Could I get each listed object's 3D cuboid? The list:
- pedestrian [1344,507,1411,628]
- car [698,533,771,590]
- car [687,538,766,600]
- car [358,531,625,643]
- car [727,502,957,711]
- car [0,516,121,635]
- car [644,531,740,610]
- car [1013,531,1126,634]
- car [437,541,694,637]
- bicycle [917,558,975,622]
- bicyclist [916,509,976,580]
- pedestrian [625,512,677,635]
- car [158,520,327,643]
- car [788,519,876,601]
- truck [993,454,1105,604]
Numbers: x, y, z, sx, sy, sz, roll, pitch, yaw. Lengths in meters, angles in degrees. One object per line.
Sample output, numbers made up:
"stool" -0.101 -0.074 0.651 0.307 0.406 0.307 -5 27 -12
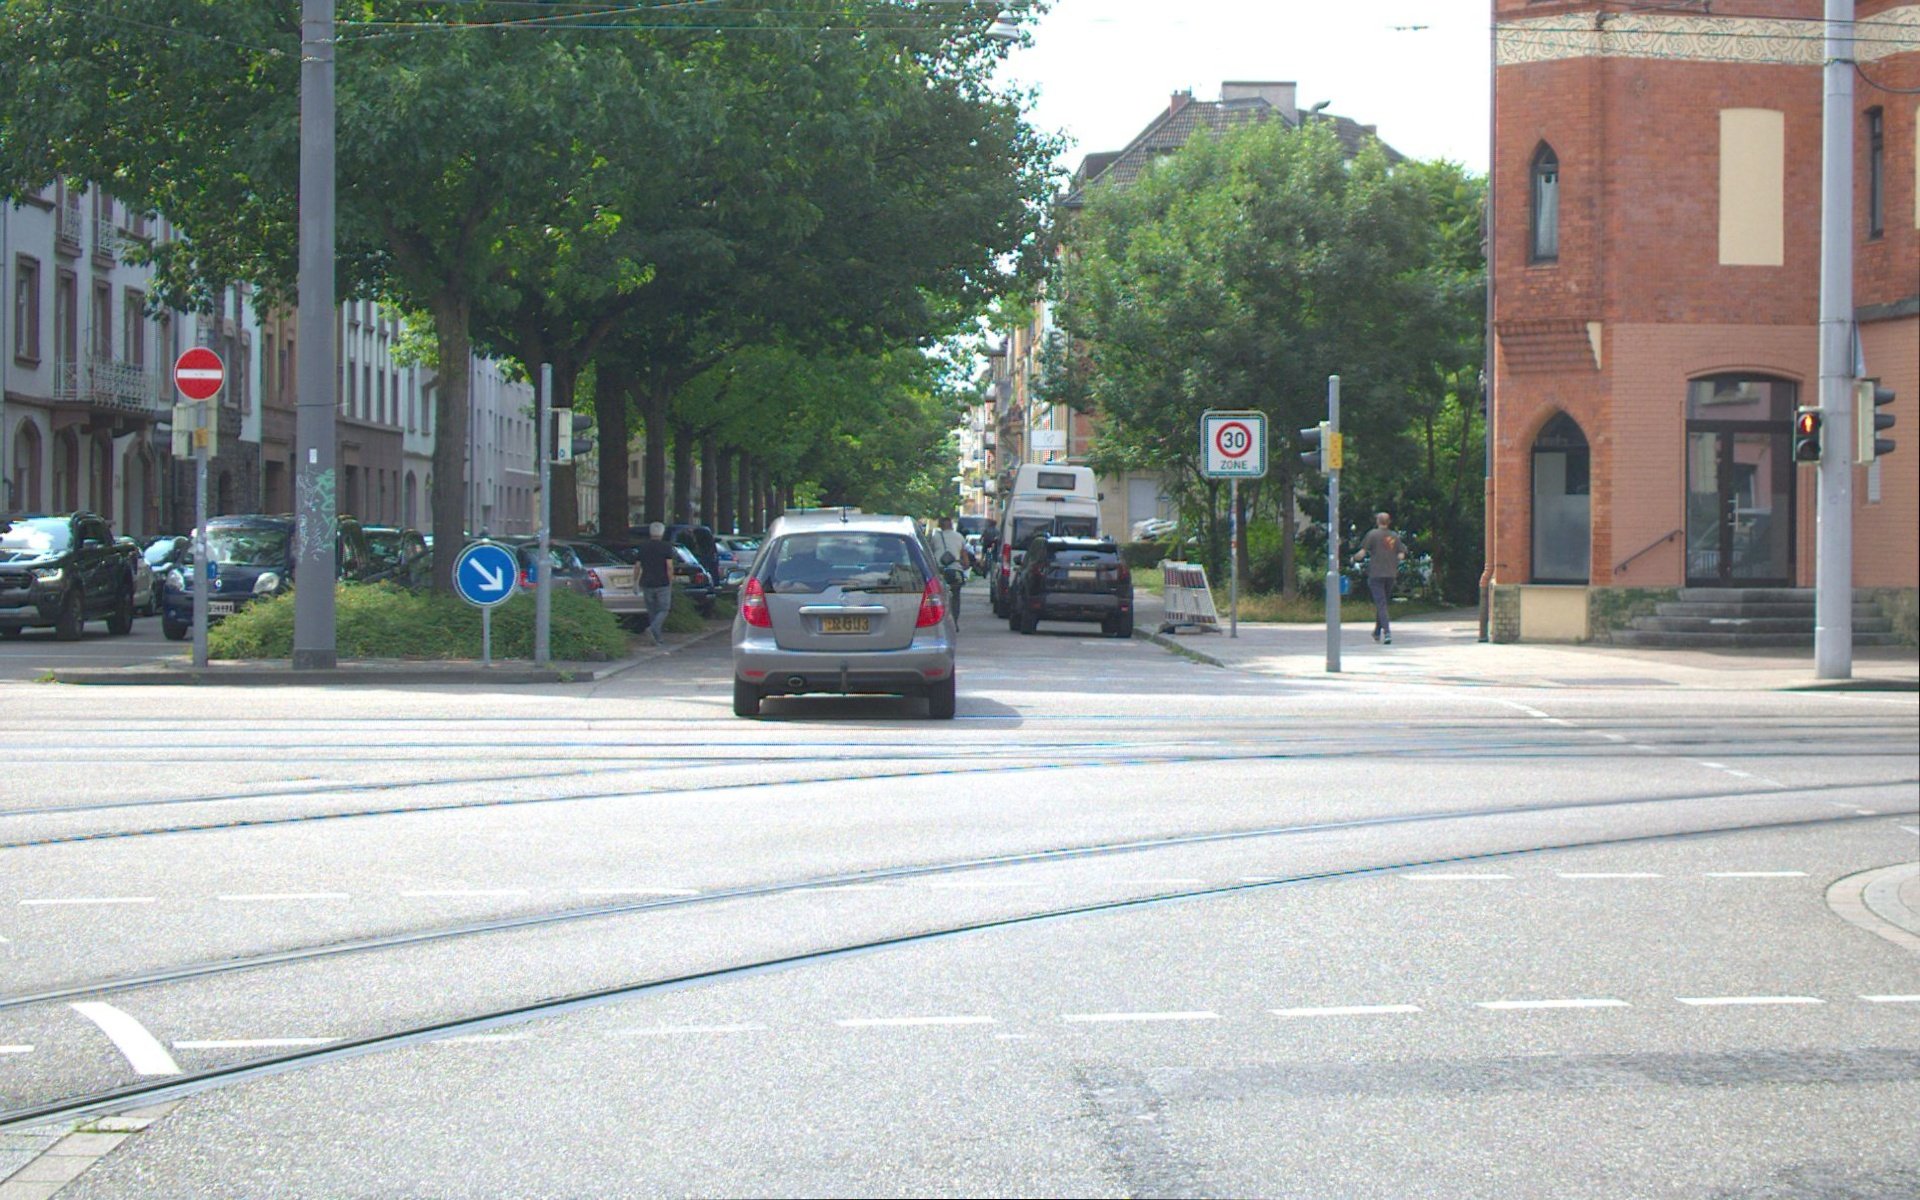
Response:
"pedestrian" 5.778 -0.459 47.612 0.869 1.651 0.736 1 1 4
"car" -6.155 -1.067 94.089 1.752 1.512 3.499 1 1 0
"car" -5.889 -0.796 86.998 1.752 1.512 3.499 1 1 0
"car" -6.713 -0.214 49.000 1.969 1.489 3.999 0 2 -39
"car" -0.906 0.015 28.138 1.722 1.600 3.677 0 1 0
"car" -13.197 -0.369 48.726 1.993 1.612 4.001 0 1 -6
"car" -5.698 -0.645 73.456 1.752 1.627 3.499 1 1 0
"car" 1.835 -0.312 56.869 1.752 1.627 3.499 1 1 3
"car" -5.961 -0.192 51.617 1.969 1.334 3.999 0 2 -39
"bicycle" -0.208 -0.164 52.929 0.749 0.955 2.298 0 1 3
"bicyclist" -0.206 -0.864 53.061 0.836 1.078 1.400 0 1 3
"pedestrian" -4.374 -0.378 48.691 0.652 1.719 0.494 1 1 3
"car" -10.463 -0.303 50.345 1.993 1.722 4.001 0 1 -6
"car" -2.728 -0.873 73.890 1.722 1.700 3.677 0 1 0
"truck" 1.839 -1.436 69.751 2.123 2.960 4.000 0 1 3
